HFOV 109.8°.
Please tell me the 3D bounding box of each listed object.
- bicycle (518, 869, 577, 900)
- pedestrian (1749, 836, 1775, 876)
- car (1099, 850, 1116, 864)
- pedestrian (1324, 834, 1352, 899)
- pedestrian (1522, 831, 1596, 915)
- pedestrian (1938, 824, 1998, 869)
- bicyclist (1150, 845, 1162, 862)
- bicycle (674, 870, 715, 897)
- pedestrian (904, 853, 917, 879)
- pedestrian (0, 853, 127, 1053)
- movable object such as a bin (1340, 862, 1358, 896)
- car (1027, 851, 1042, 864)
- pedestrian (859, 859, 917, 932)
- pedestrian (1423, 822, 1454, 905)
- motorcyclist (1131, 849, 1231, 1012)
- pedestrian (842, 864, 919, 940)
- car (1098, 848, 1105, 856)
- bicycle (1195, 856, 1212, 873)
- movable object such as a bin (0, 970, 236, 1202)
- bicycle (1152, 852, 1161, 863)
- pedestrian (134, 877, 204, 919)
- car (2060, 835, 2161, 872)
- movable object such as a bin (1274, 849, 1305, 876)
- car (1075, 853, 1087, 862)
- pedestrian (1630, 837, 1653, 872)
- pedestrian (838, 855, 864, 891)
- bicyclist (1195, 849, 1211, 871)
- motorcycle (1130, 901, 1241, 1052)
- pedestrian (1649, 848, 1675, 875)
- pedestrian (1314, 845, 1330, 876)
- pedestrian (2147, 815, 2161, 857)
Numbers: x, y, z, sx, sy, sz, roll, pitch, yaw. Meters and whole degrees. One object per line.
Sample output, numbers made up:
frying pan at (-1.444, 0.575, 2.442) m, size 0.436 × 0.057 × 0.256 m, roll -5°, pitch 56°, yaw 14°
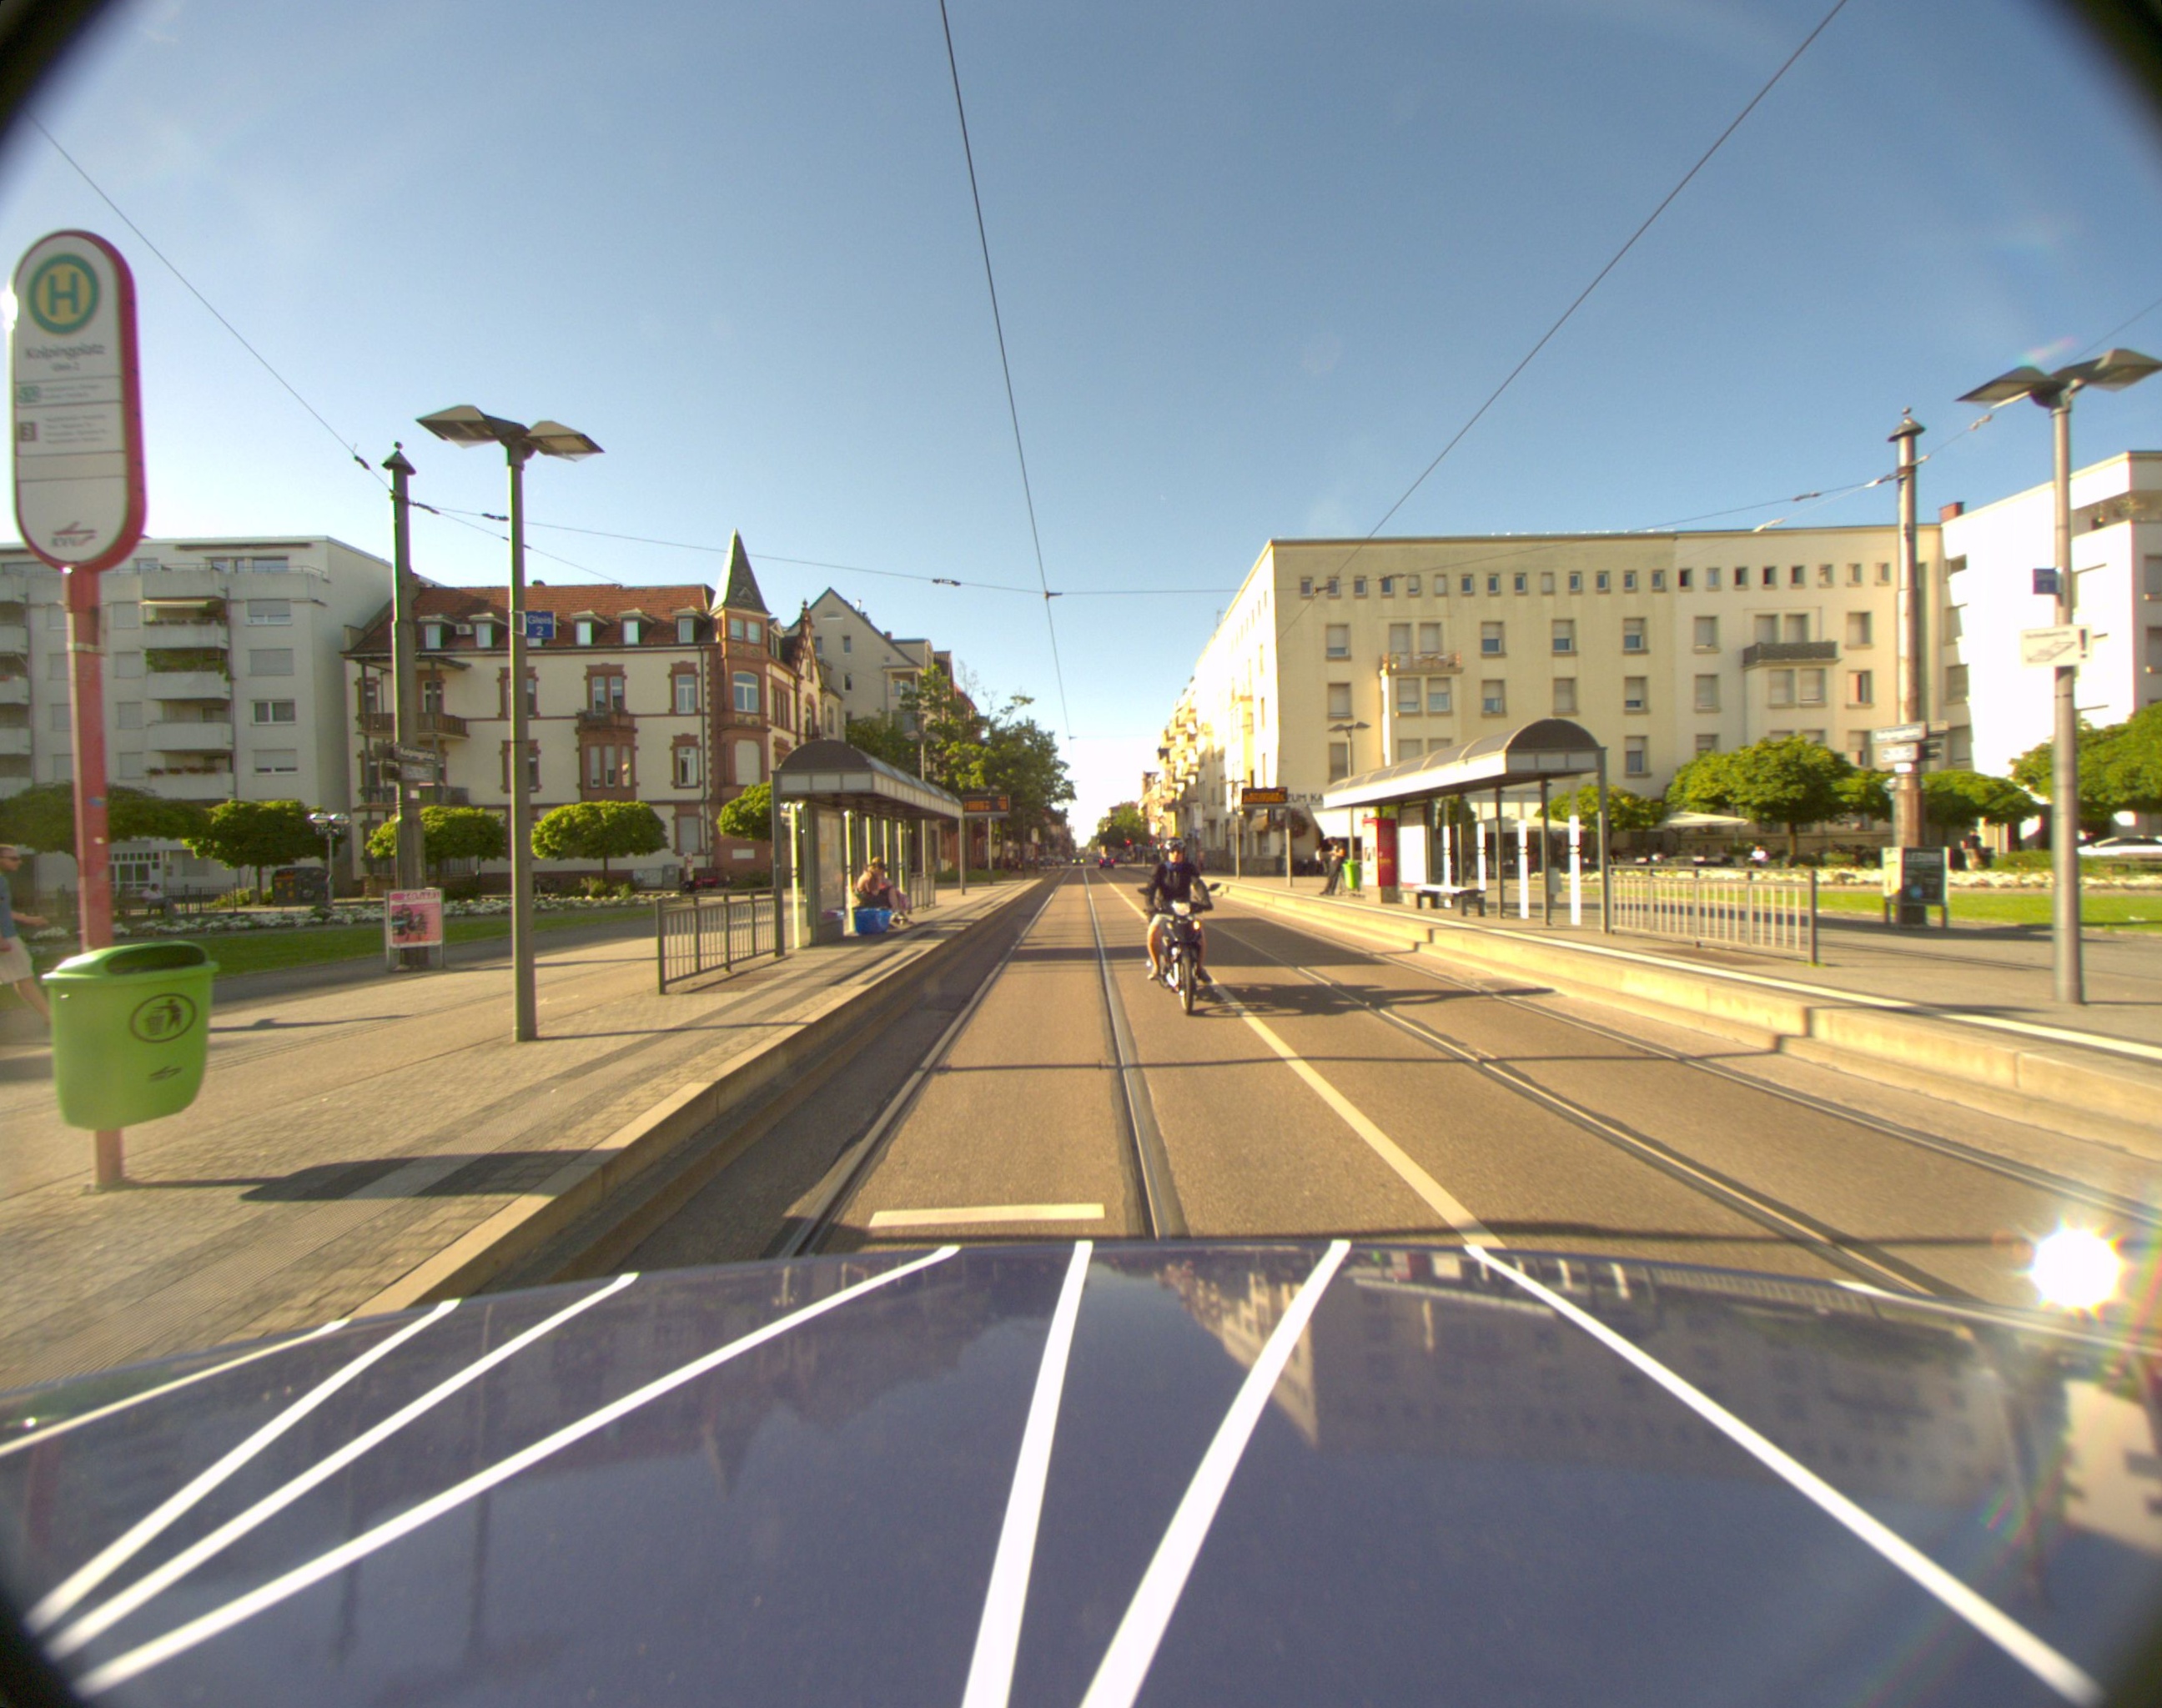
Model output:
bicycle at (-25.741, 1.434, 36.738) m, size 0.746 × 1.364 × 2.914 m, roll -1°, pitch 0°, yaw 0°
pedestrian at (30.230, 0.114, 33.742) m, size 0.675 × 1.726 × 0.718 m, roll 2°, pitch -3°, yaw -39°
car at (3.032, 0.299, 87.791) m, size 1.671 × 1.479 × 3.999 m, roll -2°, pitch 0°, yaw 0°
pedestrian at (6.971, 0.331, 20.618) m, size 0.550 × 1.708 × 0.607 m, roll 1°, pitch 1°, yaw 3°
pedestrian at (9.844, 0.378, 15.692) m, size 0.995 × 1.670 × 0.975 m, roll -1°, pitch 1°, yaw 9°
pedestrian at (36.106, -0.295, 30.963) m, size 1.176 × 1.777 × 1.081 m, roll -1°, pitch 1°, yaw 0°
bicyclist at (7.953, -0.066, 80.670) m, size 1.006 × 1.783 × 1.095 m, roll -1°, pitch 1°, yaw -2°
bicycle at (-17.951, 1.343, 35.350) m, size 0.790 × 1.062 × 2.804 m, roll -1°, pitch 2°, yaw -9°
pedestrian at (-11.210, 0.773, 50.003) m, size 0.742 × 1.725 × 0.877 m, roll -1°, pitch 1°, yaw -6°
pedestrian at (-10.689, 0.944, 7.507) m, size 0.984 × 1.867 × 1.128 m, roll -1°, pitch 2°, yaw -2°
movable object such as a bin at (6.926, 0.649, 19.628) m, size 0.337 × 0.855 × 0.416 m, roll -1°, pitch 1°, yaw 3°
car at (-7.742, 0.568, 126.327) m, size 1.998 × 2.002 × 4.001 m, roll -1°, pitch 0°, yaw 4°
pedestrian at (-3.742, 0.791, 14.787) m, size 0.861 × 1.327 × 0.623 m, roll -4°, pitch 1°, yaw 1°
pedestrian at (8.075, 0.213, 17.156) m, size 0.429 × 1.848 × 0.526 m, roll 1°, pitch 1°, yaw 3°
motorcyclist at (0.944, 0.697, 7.456) m, size 0.821 × 1.466 × 1.114 m, roll -1°, pitch 1°, yaw 1°
pedestrian at (-3.507, 0.823, 13.380) m, size 1.001 × 1.218 × 0.923 m, roll -4°, pitch 1°, yaw 1°
car at (5.539, -0.485, 208.876) m, size 1.877 × 2.105 × 4.000 m, roll -1°, pitch 1°, yaw 2°
bicycle at (8.359, 0.727, 51.973) m, size 0.730 × 1.107 × 1.976 m, roll -2°, pitch 1°, yaw -3°
movable object such as a bin at (-3.920, 0.901, 3.061) m, size 0.450 × 0.781 × 0.489 m, roll -1°, pitch 1°, yaw 3°
bicycle at (8.013, 0.390, 80.687) m, size 0.714 × 1.119 × 2.035 m, roll -1°, pitch 0°, yaw -3°
pedestrian at (-32.283, 1.555, 26.906) m, size 1.525 × 1.403 × 0.936 m, roll -1°, pitch 1°, yaw 11°
car at (39.089, -0.047, 27.700) m, size 1.998 × 1.293 × 3.715 m, roll -1°, pitch 0°, yaw 0°
movable object such as a bin at (11.251, 0.444, 41.051) m, size 1.319 × 1.392 × 1.128 m, roll -1°, pitch 1°, yaw -1°
car at (-0.005, 0.566, 127.744) m, size 1.998 × 1.318 × 3.863 m, roll -1°, pitch 0°, yaw 0°
pedestrian at (29.051, 0.036, 39.405) m, size 0.675 × 1.726 × 0.683 m, roll 1°, pitch -2°, yaw -27°
pedestrian at (-10.892, 0.873, 35.970) m, size 1.070 × 1.659 × 0.956 m, roll -1°, pitch 1°, yaw -12°
bicyclist at (8.357, 0.418, 52.056) m, size 0.830 × 1.447 × 0.877 m, roll -2°, pitch 1°, yaw -4°
motorcycle at (0.955, 1.101, 7.587) m, size 0.799 × 1.090 × 2.428 m, roll -1°, pitch 0°, yaw 1°
pedestrian at (27.170, 0.360, 35.523) m, size 0.644 × 1.262 × 0.674 m, roll 0°, pitch -2°, yaw -4°
pedestrian at (12.813, 0.346, 40.337) m, size 0.672 × 1.634 × 0.752 m, roll -1°, pitch -2°, yaw 27°
pedestrian at (51.660, -0.876, 35.904) m, size 1.093 × 2.002 × 1.091 m, roll -1°, pitch 1°, yaw 0°
